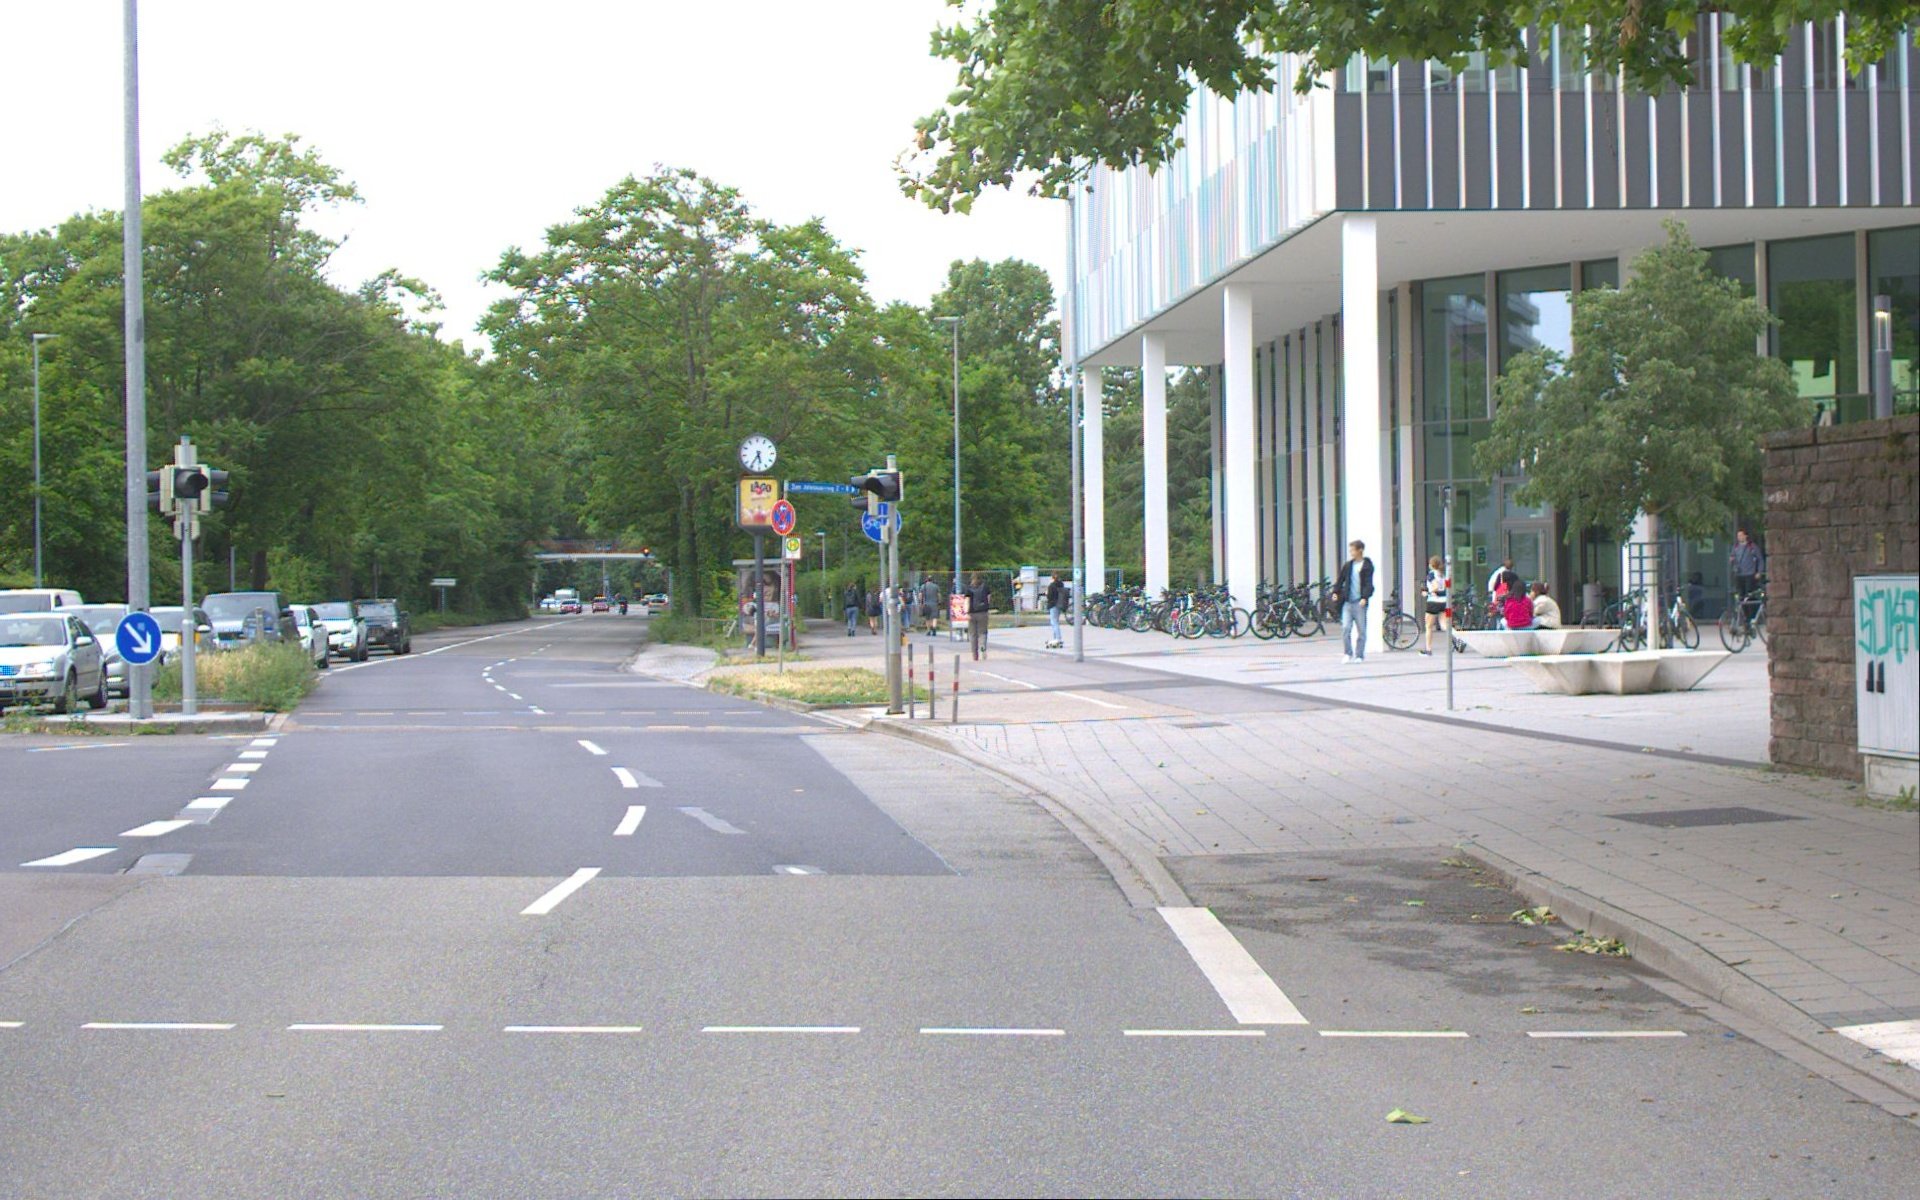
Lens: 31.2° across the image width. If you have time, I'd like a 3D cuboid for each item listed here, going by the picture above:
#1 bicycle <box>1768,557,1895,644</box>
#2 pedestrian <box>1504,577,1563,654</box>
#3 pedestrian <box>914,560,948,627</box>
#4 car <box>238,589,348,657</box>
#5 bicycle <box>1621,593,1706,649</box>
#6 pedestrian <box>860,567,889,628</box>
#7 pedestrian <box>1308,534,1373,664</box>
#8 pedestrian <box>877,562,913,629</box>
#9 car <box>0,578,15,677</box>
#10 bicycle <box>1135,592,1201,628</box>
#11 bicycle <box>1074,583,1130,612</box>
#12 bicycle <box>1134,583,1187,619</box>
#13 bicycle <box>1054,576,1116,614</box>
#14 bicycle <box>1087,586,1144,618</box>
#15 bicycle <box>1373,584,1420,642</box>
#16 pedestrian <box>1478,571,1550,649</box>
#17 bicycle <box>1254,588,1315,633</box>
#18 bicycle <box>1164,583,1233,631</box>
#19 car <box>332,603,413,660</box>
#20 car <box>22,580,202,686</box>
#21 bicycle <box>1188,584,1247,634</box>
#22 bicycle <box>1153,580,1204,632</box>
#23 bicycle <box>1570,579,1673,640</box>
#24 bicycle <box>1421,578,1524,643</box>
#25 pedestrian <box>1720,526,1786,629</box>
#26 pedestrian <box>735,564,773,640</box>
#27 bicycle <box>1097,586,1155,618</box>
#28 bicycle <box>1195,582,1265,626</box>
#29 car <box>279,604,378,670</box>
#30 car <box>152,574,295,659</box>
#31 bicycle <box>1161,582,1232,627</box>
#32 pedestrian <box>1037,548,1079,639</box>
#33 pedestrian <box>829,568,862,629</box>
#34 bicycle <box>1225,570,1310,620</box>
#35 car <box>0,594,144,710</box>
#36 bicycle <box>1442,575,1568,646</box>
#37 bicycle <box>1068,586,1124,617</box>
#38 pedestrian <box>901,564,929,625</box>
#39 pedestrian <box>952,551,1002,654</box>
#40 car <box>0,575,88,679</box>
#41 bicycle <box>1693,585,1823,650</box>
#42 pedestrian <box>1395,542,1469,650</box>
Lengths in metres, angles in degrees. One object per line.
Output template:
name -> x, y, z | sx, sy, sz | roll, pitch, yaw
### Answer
bicycle -> 14.094, 0.001, 55.581 | 2.001, 1.301, 0.646 | -3, 2, -26
pedestrian -> 9.082, 0.239, 54.471 | 0.892, 1.189, 0.845 | -1, 0, 10
pedestrian -> -0.893, -0.201, 105.558 | 0.925, 2.007, 1.040 | -1, 0, -6
car -> -15.241, 0.501, 78.792 | 1.903, 1.460, 4.911 | 1, 0, -4
bicycle -> 11.946, 0.350, 58.339 | 0.671, 0.896, 1.842 | -1, 0, 37
pedestrian -> -2.851, -0.070, 114.348 | 0.823, 2.007, 0.720 | -1, 0, -9
pedestrian -> 5.985, -0.018, 54.133 | 0.842, 2.007, 0.894 | -1, 0, -3
pedestrian -> -2.000, -0.143, 105.423 | 0.925, 2.007, 1.040 | -1, 0, -9
car -> -16.778, 0.482, 55.109 | 1.993, 1.614, 4.000 | -1, 0, 2
bicycle -> 5.249, 0.257, 86.823 | 1.606, 0.872, 0.556 | -1, 0, -4
bicycle -> 4.339, -0.079, 105.207 | 1.606, 0.872, 0.556 | -1, 0, -8
bicycle -> 5.227, 0.023, 89.753 | 1.283, 0.872, 0.556 | -2, 0, -4
bicycle -> 3.868, -0.153, 106.320 | 1.794, 1.078, 0.626 | -3, 1, -6
bicycle -> 4.590, 0.062, 101.798 | 1.606, 0.872, 0.556 | -2, 0, -4
bicycle -> 8.160, 0.236, 64.291 | 0.638, 1.058, 1.840 | 1, 0, 0
pedestrian -> 8.678, 0.158, 53.844 | 0.844, 1.202, 0.893 | -1, 0, 30
bicycle -> 7.041, 0.223, 74.623 | 1.484, 0.926, 0.440 | -3, 2, -43
bicycle -> 5.896, 0.172, 84.991 | 1.644, 1.087, 0.572 | -4, 0, 4
car -> -17.210, 0.908, 100.834 | 1.902, 1.588, 4.517 | -1, 0, -4
car -> -13.807, 0.506, 56.226 | 1.957, 1.578, 4.256 | -2, 1, -2
bicycle -> 5.720, 0.197, 76.466 | 0.607, 1.076, 1.963 | -3, 1, -16
bicycle -> 5.021, 0.138, 79.174 | 0.635, 1.136, 2.201 | -4, 0, -9
bicycle -> 11.360, 0.161, 59.009 | 0.774, 0.998, 1.955 | -1, 1, 44
bicycle -> 9.284, 0.182, 62.216 | 0.736, 1.112, 2.178 | -1, 1, 43
pedestrian -> 15.973, -0.451, 69.247 | 1.182, 2.055, 1.134 | 1, 0, 18
pedestrian -> -5.656, 0.043, 94.473 | 0.912, 2.006, 0.854 | -3, 2, -5
bicycle -> 4.861, 0.056, 100.625 | 1.606, 0.872, 0.556 | -2, 0, -4
bicycle -> 6.438, 0.093, 81.954 | 1.606, 0.932, 0.568 | -3, 1, 6
car -> -16.111, 0.930, 87.859 | 1.993, 1.541, 4.180 | -2, 0, -4
car -> -15.165, 0.315, 71.019 | 1.993, 1.681, 4.948 | 0, 0, -1
bicycle -> 5.730, 0.115, 83.392 | 1.606, 0.979, 0.556 | -4, 0, -4
pedestrian -> 2.206, -0.146, 77.356 | 0.842, 2.007, 0.894 | -1, 0, -3
pedestrian -> -3.820, -0.062, 114.499 | 0.925, 2.007, 1.040 | -1, 0, -9
bicycle -> 7.621, -0.114, 85.193 | 1.985, 1.140, 0.647 | -3, 1, 37
car -> -12.949, 0.706, 48.218 | 1.993, 1.524, 4.274 | -1, 0, 0
bicycle -> 9.658, 0.186, 60.837 | 0.774, 1.184, 2.713 | -1, 1, 44
bicycle -> 4.084, 0.029, 103.372 | 1.606, 0.872, 0.556 | -2, 0, -4
pedestrian -> -1.517, -0.185, 114.916 | 0.824, 2.007, 0.720 | -2, 0, -5
pedestrian -> 0.342, 0.046, 68.205 | 0.842, 2.007, 0.894 | -3, 0, -3
car -> -17.522, 0.465, 63.716 | 1.771, 1.841, 4.489 | 1, 0, -3
bicycle -> 13.165, 0.283, 56.695 | 2.185, 1.002, 0.782 | -1, 0, -34
pedestrian -> 8.120, -0.064, 59.141 | 0.842, 1.829, 0.894 | -1, 0, -34
